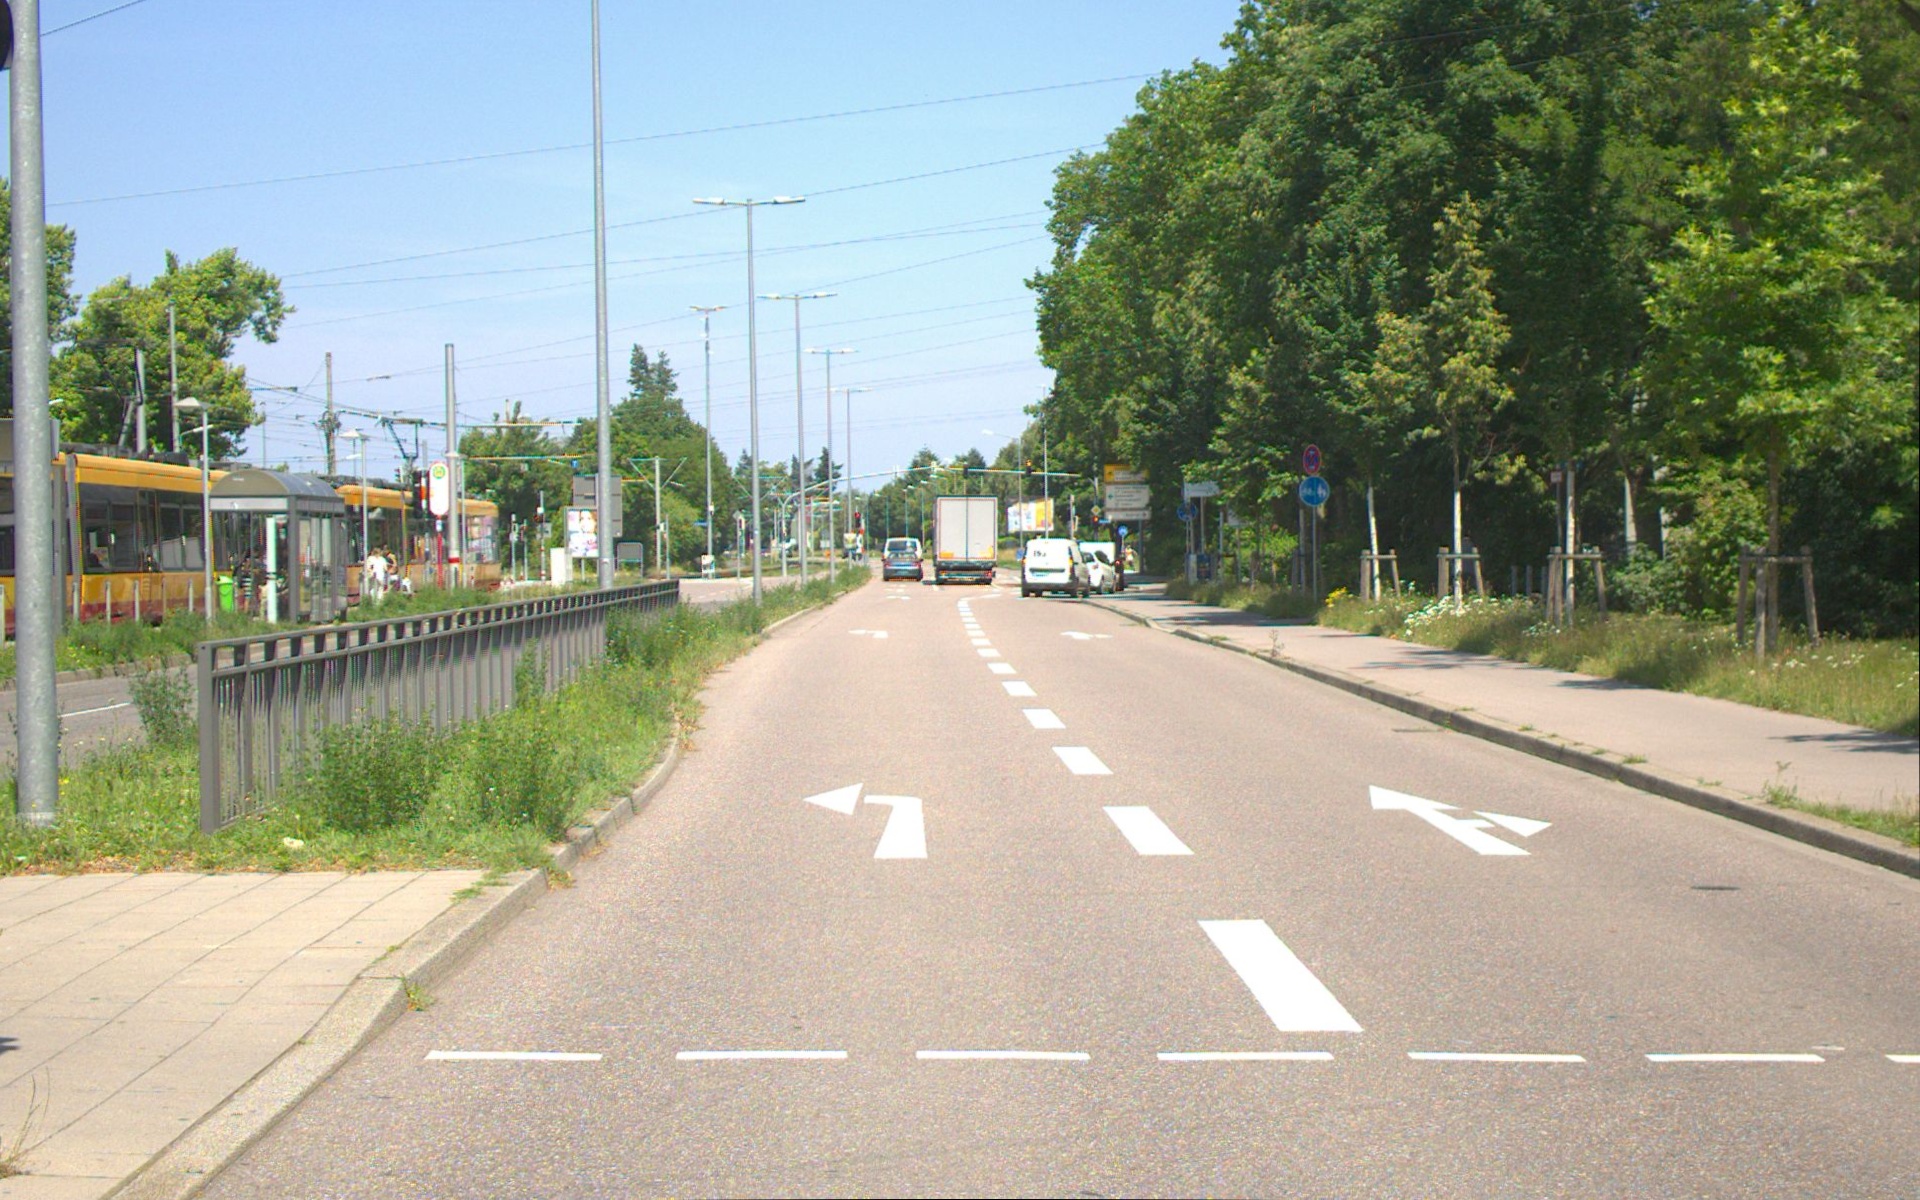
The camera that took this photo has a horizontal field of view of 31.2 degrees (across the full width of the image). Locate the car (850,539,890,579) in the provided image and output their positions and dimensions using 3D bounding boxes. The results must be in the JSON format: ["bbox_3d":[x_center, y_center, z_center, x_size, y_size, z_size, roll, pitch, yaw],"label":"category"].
[{"bbox_3d":[-4.575,-2.082,175.165,1.993,2.007,4.000,0,1,-1],"label":"car"}]

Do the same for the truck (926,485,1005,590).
[{"bbox_3d":[0.195,-2.639,146.110,3.205,4.344,6.561,0,1,-1],"label":"truck"}]

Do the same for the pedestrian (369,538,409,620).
[{"bbox_3d":[-14.105,-0.527,84.947,0.815,2.007,0.938,0,1,-1],"label":"pedestrian"}]

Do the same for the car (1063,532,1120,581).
[{"bbox_3d":[4.533,-1.520,118.789,1.779,1.663,4.000,0,1,-1],"label":"car"}]

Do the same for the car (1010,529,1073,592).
[{"bbox_3d":[2.496,-1.227,105.516,1.779,1.897,4.000,0,1,-1],"label":"car"}]

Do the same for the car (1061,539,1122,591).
[{"bbox_3d":[4.284,-1.156,112.446,1.779,1.663,4.000,0,1,-1],"label":"car"}]

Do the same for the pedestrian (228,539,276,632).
[{"bbox_3d":[-14.265,-0.304,69.301,0.785,1.862,0.817,0,1,-1],"label":"pedestrian"}]

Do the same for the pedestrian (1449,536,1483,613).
[{"bbox_3d":[9.496,-0.484,64.509,0.604,1.433,0.556,0,1,6],"label":"pedestrian"}]

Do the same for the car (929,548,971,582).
[{"bbox_3d":[-0.452,-1.563,153.618,1.811,1.459,4.000,0,1,-1],"label":"car"}]

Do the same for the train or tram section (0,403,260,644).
[{"bbox_3d":[-16.587,-1.311,61.044,2.957,3.736,30.035,0,1,-1],"label":"train or tram section"}]

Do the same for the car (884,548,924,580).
[{"bbox_3d":[-2.577,-1.658,157.885,1.811,1.459,4.000,0,1,-1],"label":"car"}]

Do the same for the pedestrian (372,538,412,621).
[{"bbox_3d":[-13.827,-0.510,83.653,0.815,2.007,0.938,0,1,-1],"label":"pedestrian"}]

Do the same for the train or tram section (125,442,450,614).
[{"bbox_3d":[-17.296,-1.883,92.485,2.931,3.776,33.090,0,1,-1],"label":"train or tram section"}]
